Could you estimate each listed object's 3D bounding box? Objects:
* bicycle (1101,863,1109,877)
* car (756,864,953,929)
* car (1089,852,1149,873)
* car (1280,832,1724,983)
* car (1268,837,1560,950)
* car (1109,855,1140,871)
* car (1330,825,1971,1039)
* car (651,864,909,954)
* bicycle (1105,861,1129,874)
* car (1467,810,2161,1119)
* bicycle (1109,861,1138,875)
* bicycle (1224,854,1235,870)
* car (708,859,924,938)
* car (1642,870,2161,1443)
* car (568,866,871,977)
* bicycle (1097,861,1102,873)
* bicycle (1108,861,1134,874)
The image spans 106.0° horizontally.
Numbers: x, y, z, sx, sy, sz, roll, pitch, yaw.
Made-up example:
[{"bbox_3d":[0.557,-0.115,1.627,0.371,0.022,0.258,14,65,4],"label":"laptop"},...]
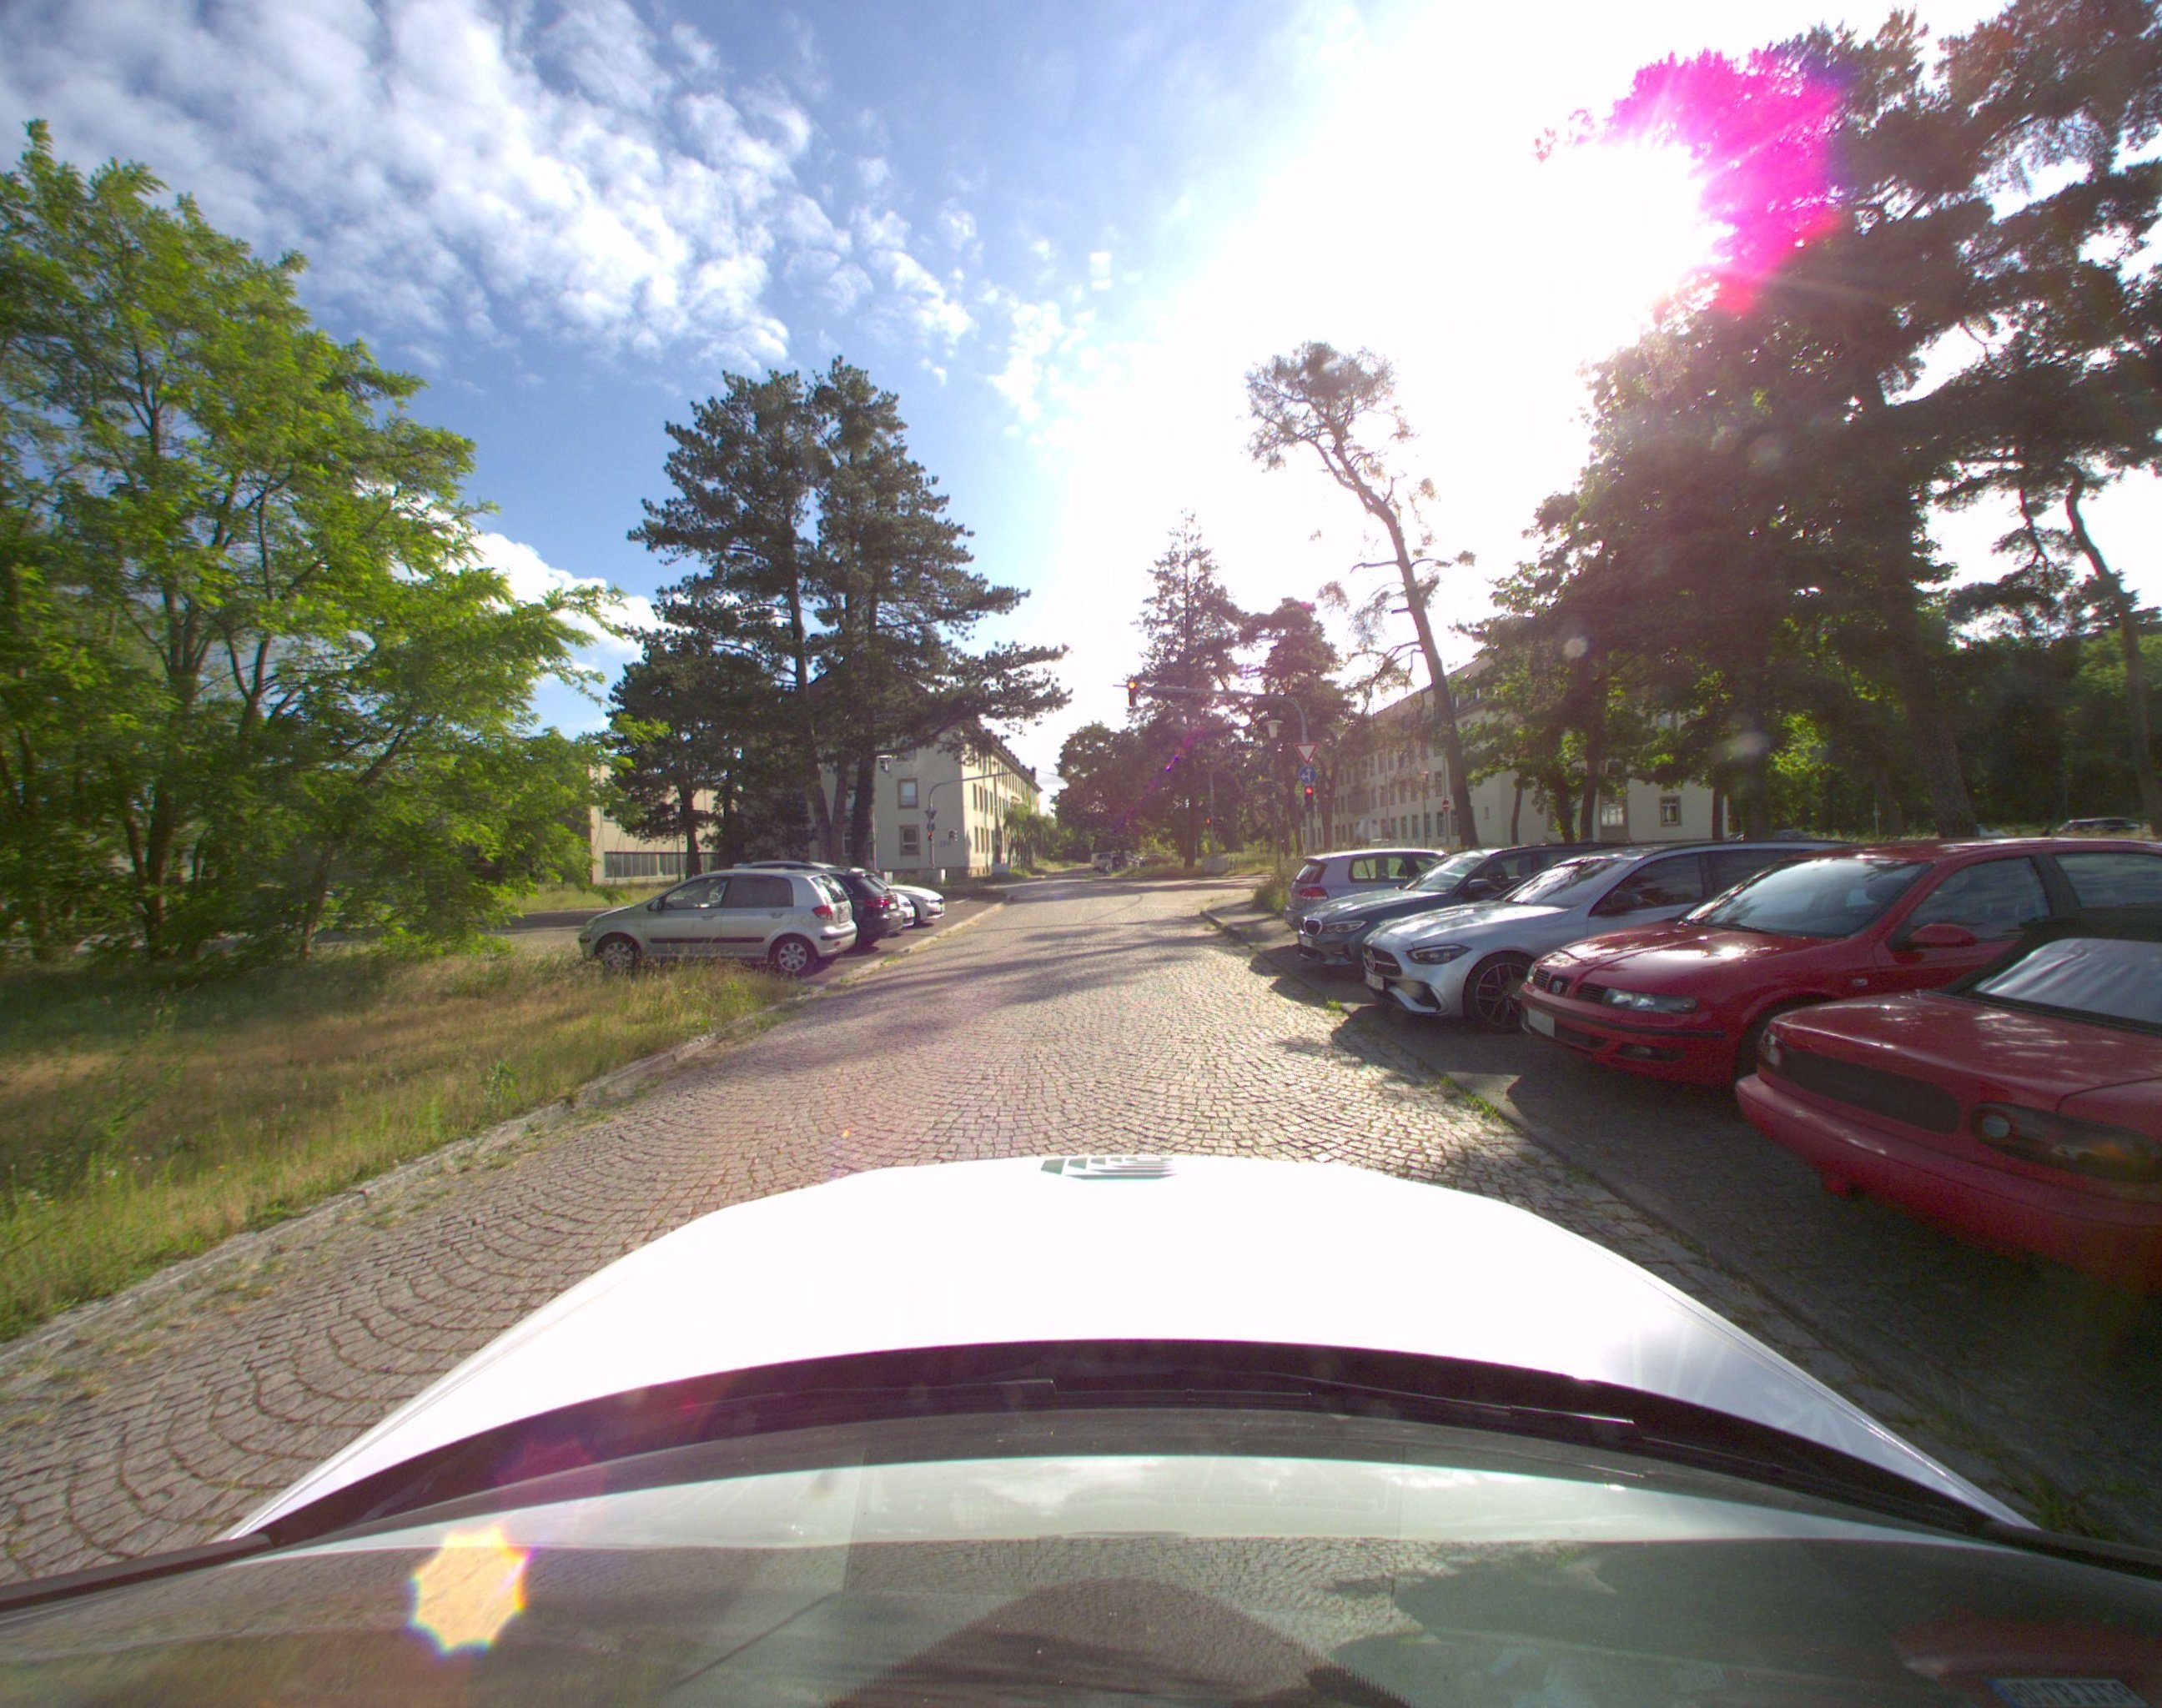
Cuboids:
[{"bbox_3d":[1.687,1.146,58.026,0.466,1.010,1.585,0,-1,-2],"label":"bicycle"},{"bbox_3d":[-5.458,1.003,20.071,4.321,1.468,1.830,0,0,-2],"label":"car"},{"bbox_3d":[3.705,0.791,79.813,5.533,2.014,1.989,0,-1,-17],"label":"car"},{"bbox_3d":[4.939,0.605,10.022,4.542,1.415,1.637,-4,0,2],"label":"car"},{"bbox_3d":[5.064,0.585,12.783,3.867,1.415,1.637,-4,0,2],"label":"car"},{"bbox_3d":[4.021,0.881,76.216,2.775,1.467,1.669,0,-1,-3],"label":"car"},{"bbox_3d":[4.734,0.619,7.309,4.415,1.415,1.782,-4,0,2],"label":"car"},{"bbox_3d":[-5.297,0.950,14.731,3.976,1.480,1.802,0,0,-2],"label":"car"},{"bbox_3d":[2.907,1.093,65.226,1.835,1.010,0.634,0,-1,-6],"label":"bicycle"},{"bbox_3d":[4.932,0.574,5.175,4.111,1.449,1.637,-4,0,2],"label":"car"},{"bbox_3d":[3.205,1.048,61.748,2.106,1.010,0.619,0,-1,-6],"label":"bicycle"},{"bbox_3d":[9.017,0.515,49.506,0.300,0.961,1.585,0,-1,-1],"label":"bicycle"},{"bbox_3d":[-5.627,0.919,17.703,4.069,1.593,1.884,0,0,-2],"label":"car"},{"bbox_3d":[4.429,0.718,2.831,3.693,1.223,1.747,-4,0,2],"label":"car"},{"bbox_3d":[-5.209,0.946,12.093,3.735,1.487,1.645,0,0,-2],"label":"car"},{"bbox_3d":[1.648,1.139,71.548,0.415,1.010,1.484,0,-1,3],"label":"bicycle"},{"bbox_3d":[3.098,1.070,63.465,2.002,1.010,0.631,0,-1,-6],"label":"bicycle"}]
